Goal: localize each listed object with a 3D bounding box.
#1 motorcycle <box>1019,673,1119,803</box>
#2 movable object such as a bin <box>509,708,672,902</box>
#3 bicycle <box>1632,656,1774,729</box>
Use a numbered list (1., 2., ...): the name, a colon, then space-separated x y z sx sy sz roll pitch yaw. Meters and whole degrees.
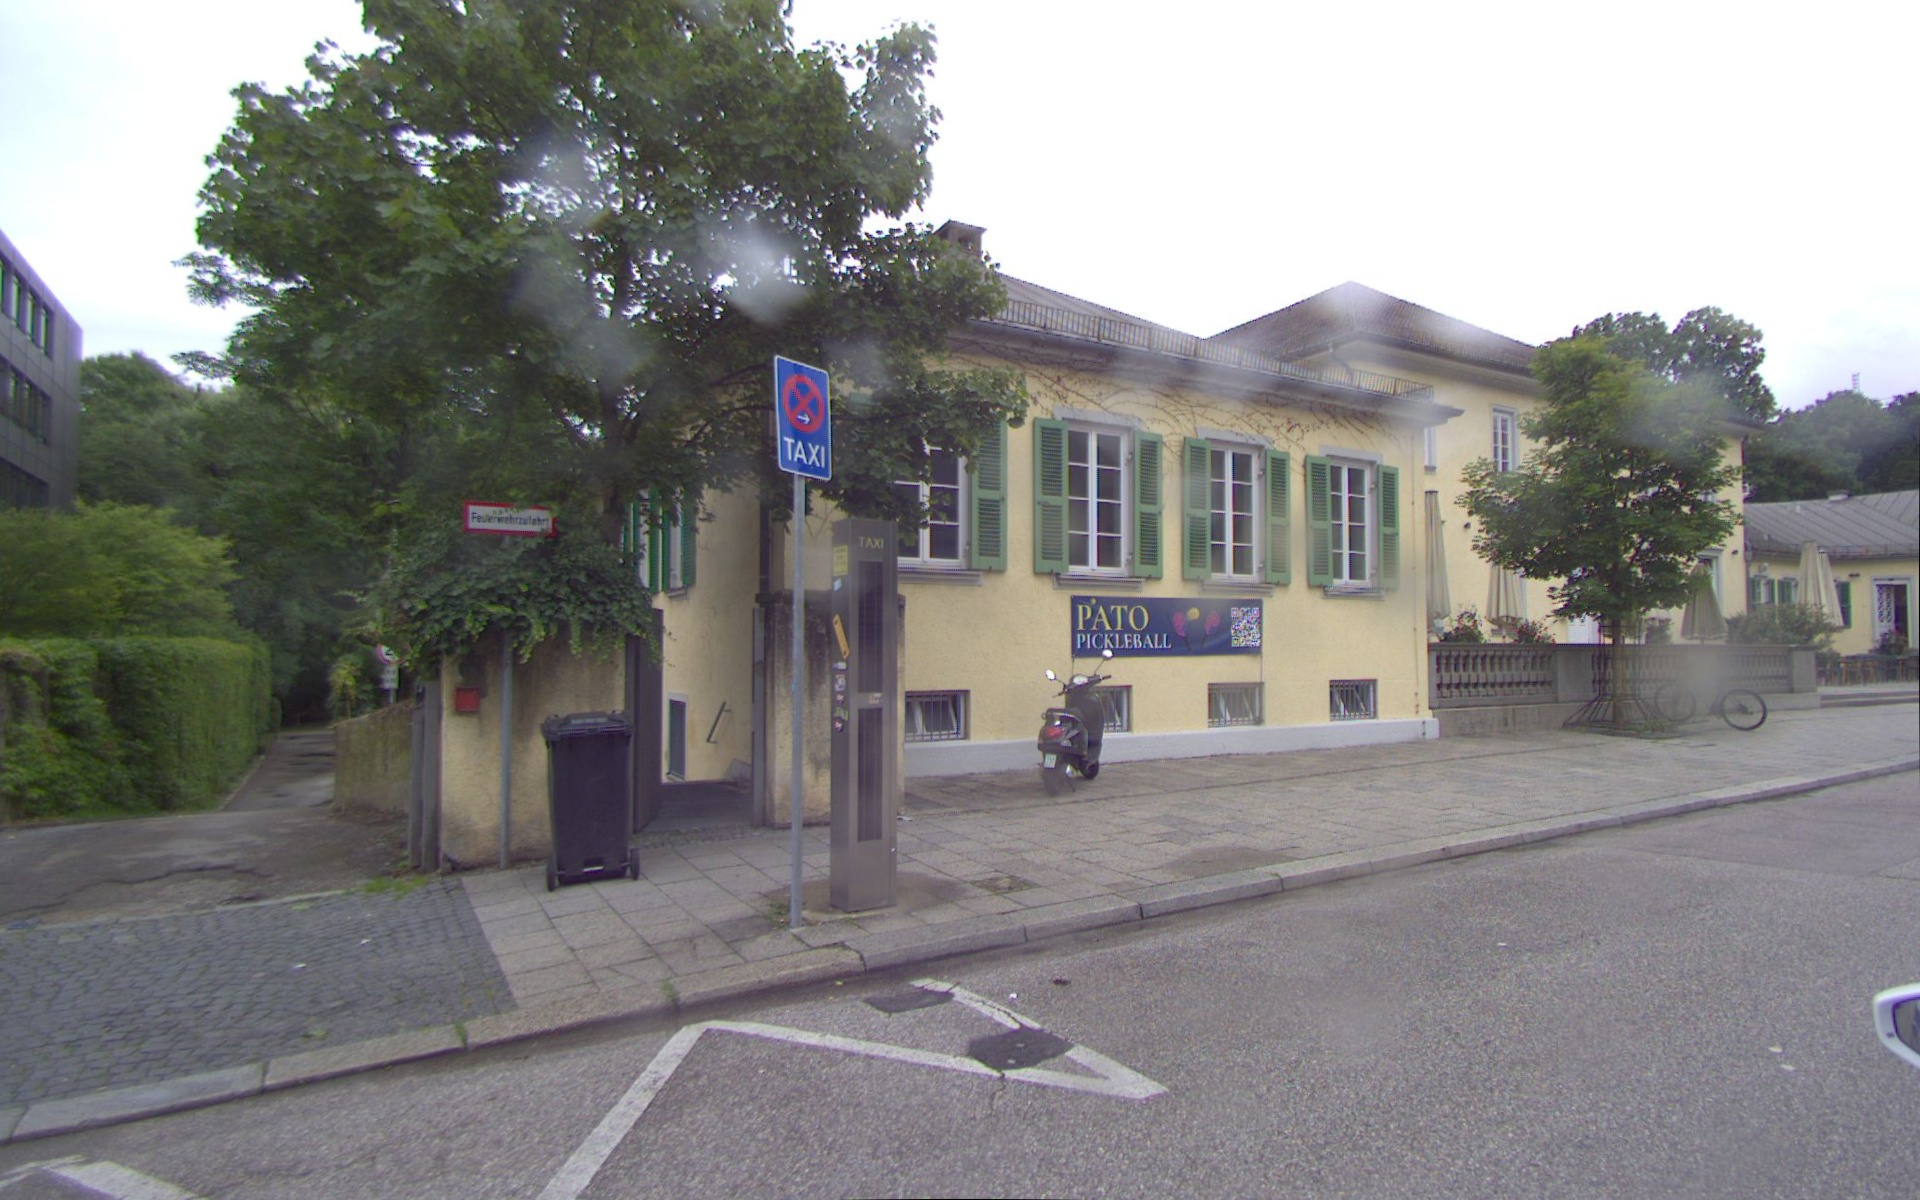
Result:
1. motorcycle: 1.152 1.346 10.280 0.548 1.115 1.838 0 -1 22
2. movable object such as a bin: -2.481 1.308 6.714 0.832 1.077 0.929 1 -2 -34
3. bicycle: 12.880 1.572 17.476 0.607 1.113 1.923 1 -1 -28
